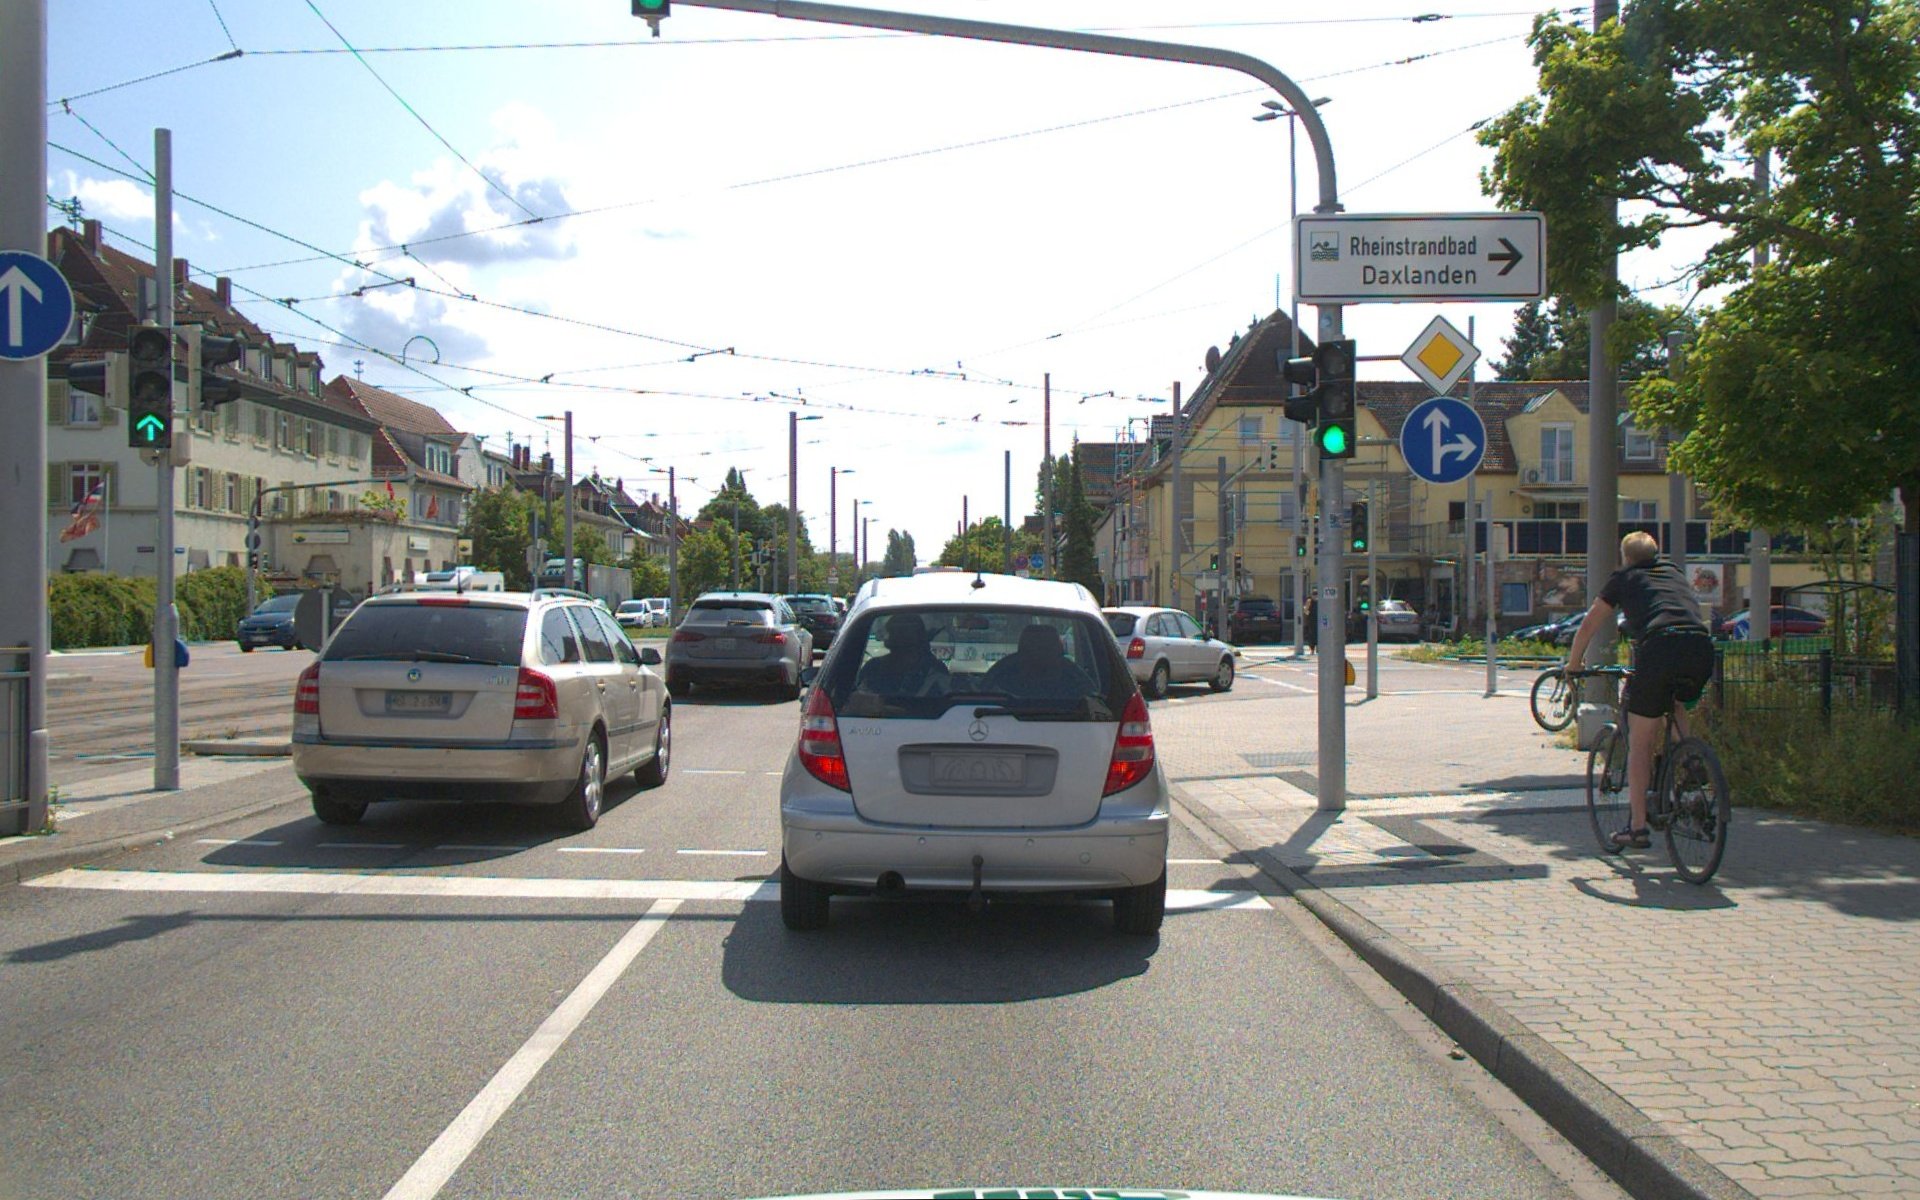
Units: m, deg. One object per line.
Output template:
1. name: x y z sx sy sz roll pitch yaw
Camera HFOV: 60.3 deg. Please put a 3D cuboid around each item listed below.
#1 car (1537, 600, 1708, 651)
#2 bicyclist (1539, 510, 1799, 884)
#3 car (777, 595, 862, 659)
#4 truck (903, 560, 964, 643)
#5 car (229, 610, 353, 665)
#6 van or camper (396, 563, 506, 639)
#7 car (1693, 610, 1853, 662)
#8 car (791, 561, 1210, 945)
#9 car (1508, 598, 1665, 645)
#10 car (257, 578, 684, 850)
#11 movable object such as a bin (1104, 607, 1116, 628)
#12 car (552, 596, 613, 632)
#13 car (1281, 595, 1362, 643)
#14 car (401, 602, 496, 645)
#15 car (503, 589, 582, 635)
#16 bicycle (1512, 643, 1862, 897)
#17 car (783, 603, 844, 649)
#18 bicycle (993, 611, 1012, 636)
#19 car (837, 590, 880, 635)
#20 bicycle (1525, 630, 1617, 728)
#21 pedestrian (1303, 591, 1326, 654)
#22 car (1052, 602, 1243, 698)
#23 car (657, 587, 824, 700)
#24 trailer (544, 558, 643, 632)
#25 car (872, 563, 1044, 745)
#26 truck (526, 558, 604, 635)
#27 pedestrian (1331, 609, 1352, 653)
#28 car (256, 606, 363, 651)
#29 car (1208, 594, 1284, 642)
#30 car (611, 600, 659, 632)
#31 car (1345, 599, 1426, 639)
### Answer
1. car: 19.096 0.742 47.777 4.230 1.352 1.738 -1 -1 -4
2. bicyclist: 3.707 0.474 8.744 0.812 1.825 1.083 -1 0 -5
3. car: -3.322 0.642 39.788 1.815 1.413 4.511 1 -1 -3
4. truck: -0.932 0.079 55.764 1.815 2.597 5.851 1 -1 -3
5. car: -17.977 0.992 44.665 1.650 1.375 4.177 1 -1 -1
6. van or camper: -21.188 0.039 69.218 2.276 2.981 7.753 0 0 -1
7. car: 25.474 1.120 51.888 4.230 1.499 1.738 1 -1 -4
8. car: 0.063 0.655 8.790 1.695 1.543 4.013 1 -1 -3
9. car: 19.463 0.674 51.447 4.230 1.331 1.738 1 -1 -4
10. car: -3.062 0.646 11.255 1.696 1.474 4.122 1 0 -1
11. movable object such as a bin: 6.918 0.790 76.206 0.458 0.963 0.558 -1 -1 -1
12. car: -18.310 0.689 80.415 1.953 1.579 4.177 -3 -1 -1
13. car: 13.066 0.689 59.970 1.953 1.624 4.130 1 -1 -1
14. car: -17.586 0.815 57.049 1.953 1.375 4.177 1 -1 -1
15. car: -17.740 0.492 70.495 1.952 1.807 4.879 -2 0 1
16. bicycle: 3.718 0.814 8.684 0.812 1.094 1.969 -2 0 -5
17. car: -4.796 0.861 54.645 1.815 1.413 3.916 1 -1 -3
18. bicycle: 1.981 1.106 77.055 0.638 1.137 1.585 1 -1 -8
19. car: -4.437 0.546 72.735 1.815 1.875 3.916 1 -1 -3
20. bicycle: 6.857 0.864 18.519 0.454 1.036 1.748 0 -1 38
21. pedestrian: 9.519 0.605 44.431 0.535 1.672 0.401 1 -1 4
22. car: 3.215 0.776 27.738 1.698 1.428 4.008 2 1 30
23. car: -3.207 0.618 25.023 1.877 1.503 4.562 1 0 0
24. trailer: -21.130 -0.346 96.249 2.545 3.888 12.838 -2 1 1
25. car: -0.060 0.568 18.650 1.695 1.793 4.015 1 -1 -1
26. truck: -21.283 -0.209 89.458 2.545 3.888 5.668 -2 0 1
27. pedestrian: 10.233 0.822 44.369 0.477 1.156 0.389 1 -1 4
28. car: -21.258 0.916 54.205 1.649 1.375 4.346 1 -1 2
29. car: 10.265 0.658 59.575 1.953 1.624 4.130 1 -1 -1
30. car: -18.090 0.898 92.231 1.757 1.665 4.471 -1 -1 1
31. car: 15.426 0.684 60.133 1.829 1.375 4.130 1 -1 -1
